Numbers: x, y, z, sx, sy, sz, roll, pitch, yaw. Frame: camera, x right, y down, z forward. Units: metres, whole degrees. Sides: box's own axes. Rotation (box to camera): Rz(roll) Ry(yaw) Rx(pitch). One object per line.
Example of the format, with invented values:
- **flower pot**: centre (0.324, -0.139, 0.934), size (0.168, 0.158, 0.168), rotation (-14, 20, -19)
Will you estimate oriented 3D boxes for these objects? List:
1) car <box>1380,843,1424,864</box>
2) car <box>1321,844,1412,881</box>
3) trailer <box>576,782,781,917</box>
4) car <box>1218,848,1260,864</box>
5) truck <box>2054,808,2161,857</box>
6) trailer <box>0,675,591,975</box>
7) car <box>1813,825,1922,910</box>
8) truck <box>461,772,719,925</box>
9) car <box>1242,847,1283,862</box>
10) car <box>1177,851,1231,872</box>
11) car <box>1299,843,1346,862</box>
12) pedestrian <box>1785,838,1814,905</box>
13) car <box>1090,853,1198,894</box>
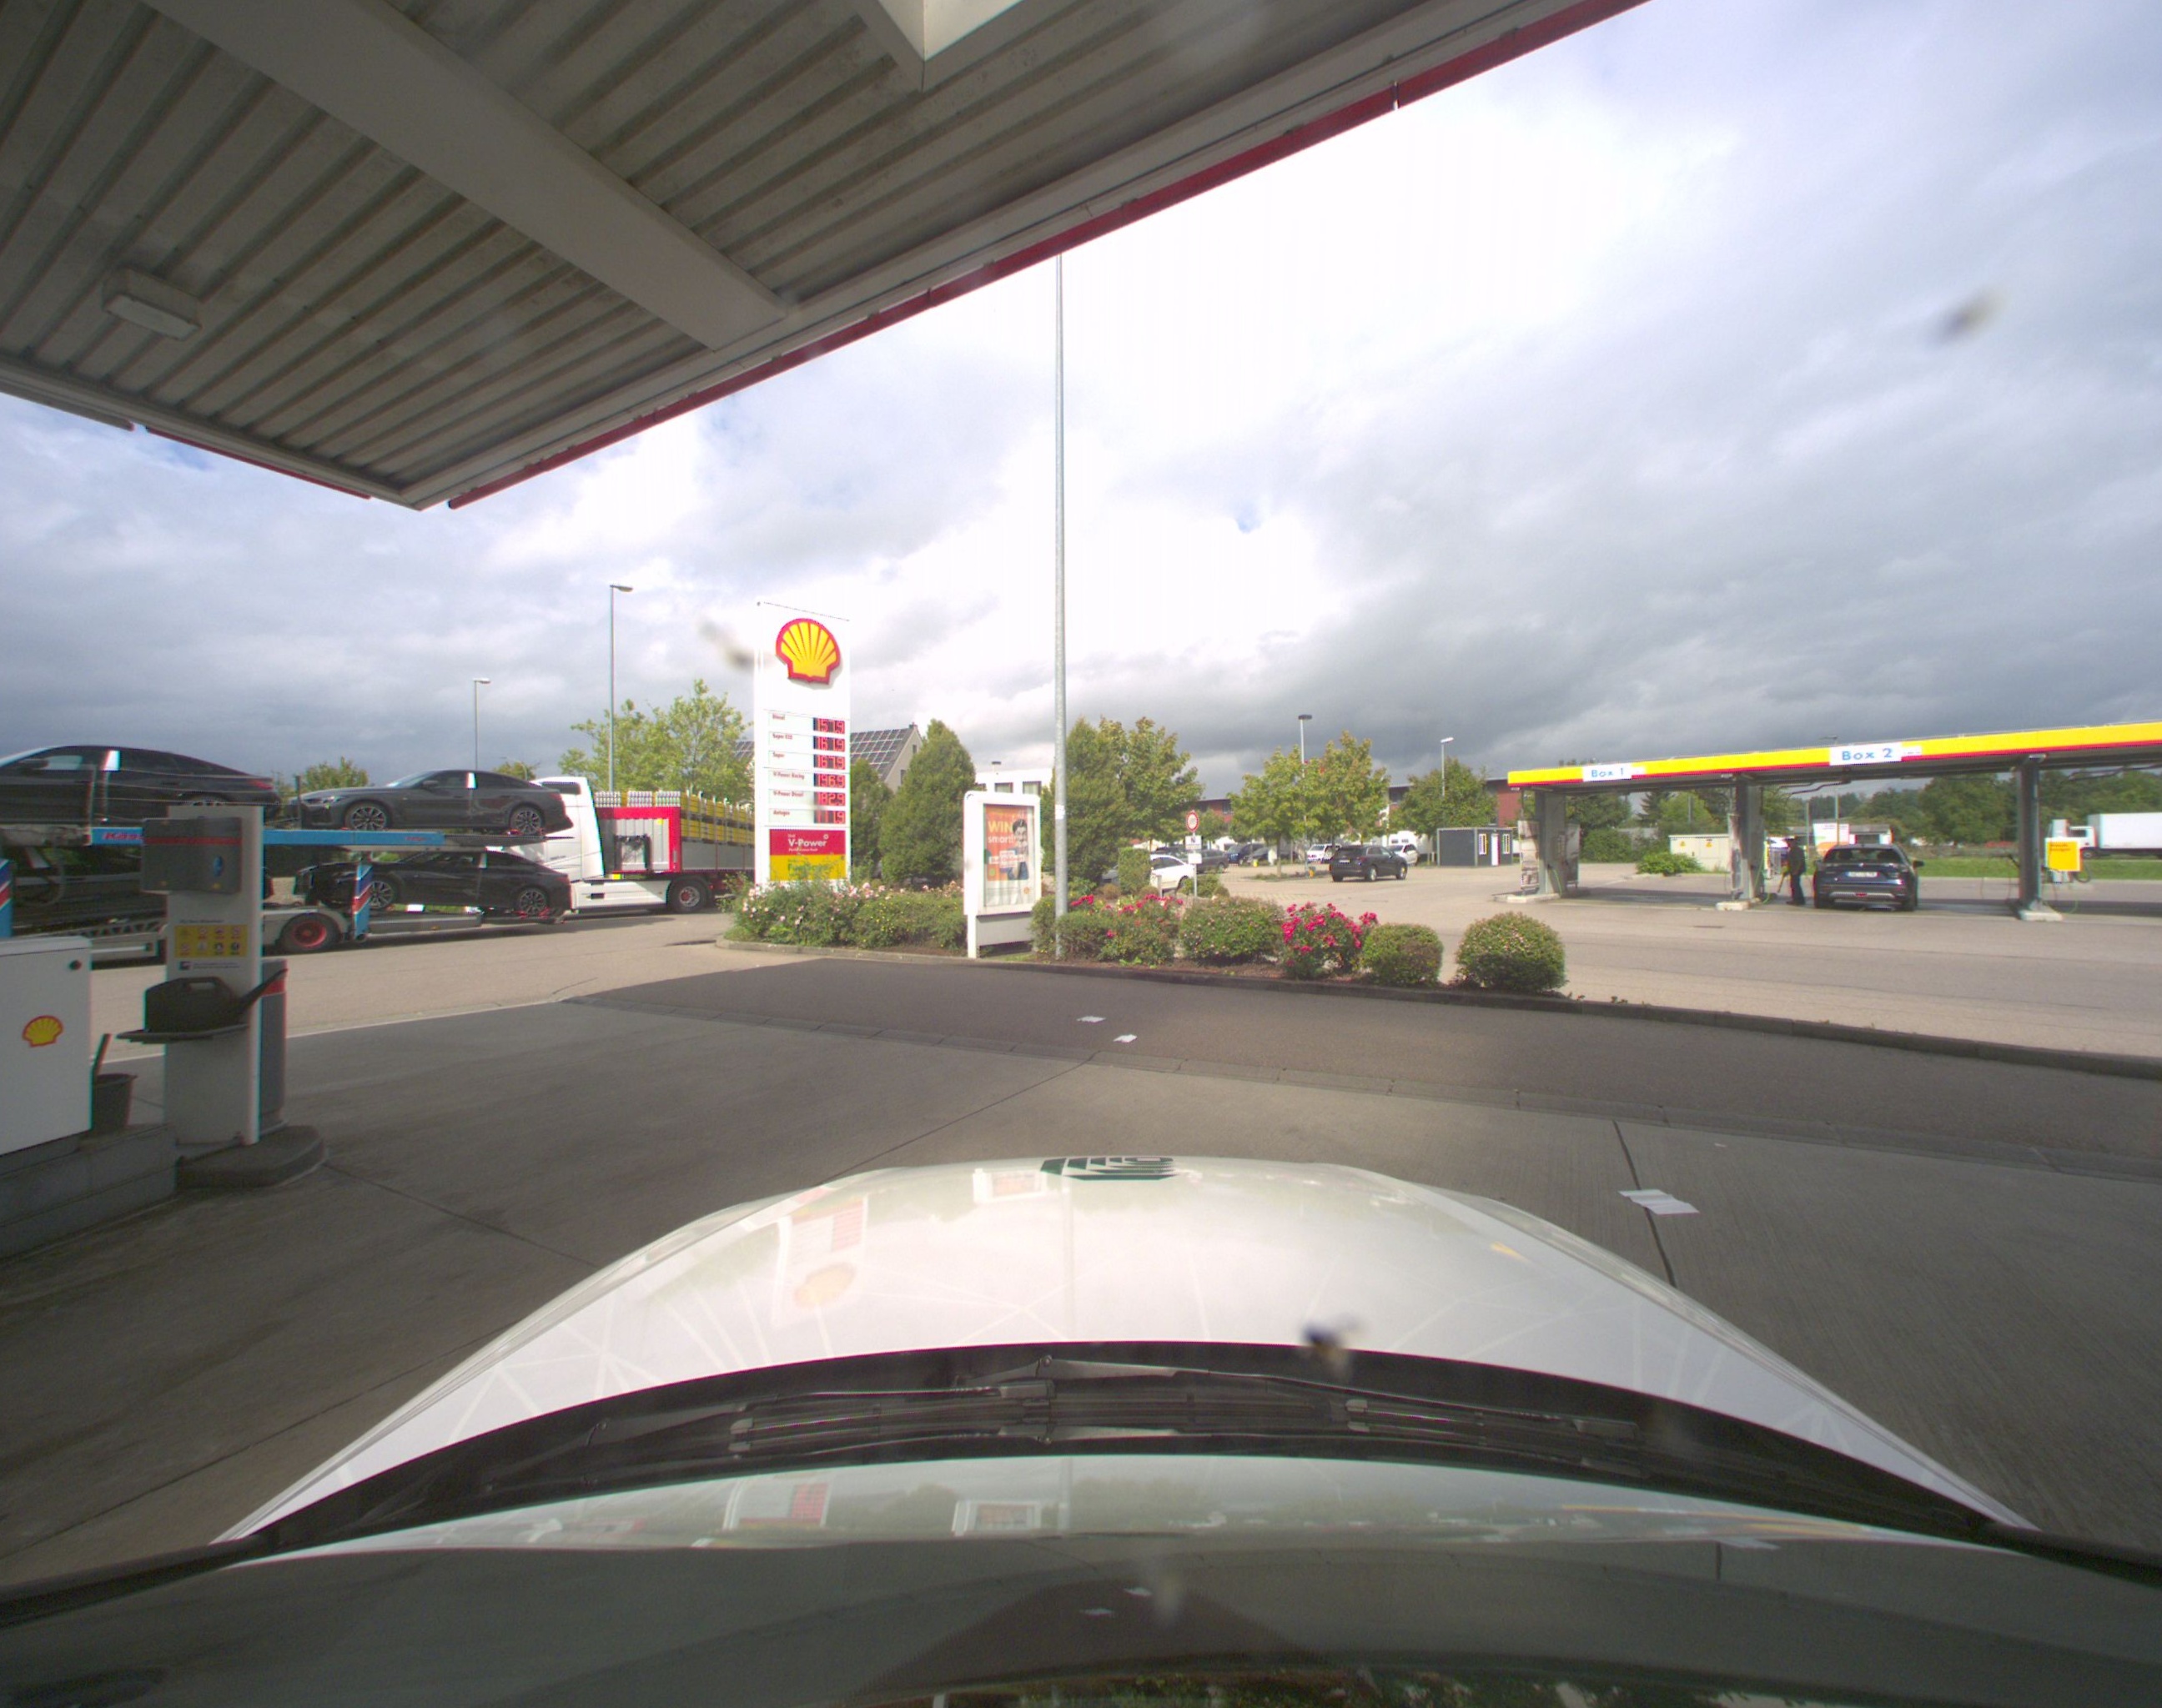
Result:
- **car**: centre (20.592, -0.047, 52.205), size (3.120, 1.307, 1.352), rotation (0, -1, -42)
- **car**: centre (12.862, 0.374, 36.569), size (4.527, 1.548, 1.864), rotation (0, -1, -41)
- **trailer**: centre (-13.601, -0.085, 29.183), size (2.729, 3.776, 12.676), rotation (0, -1, -8)
- **car**: centre (12.933, 0.181, 66.649), size (3.407, 1.320, 1.726), rotation (0, -1, -42)
- **truck**: centre (78.214, -1.560, 60.004), size (7.989, 3.534, 2.714), rotation (-1, -1, 41)
- **trailer**: centre (-16.446, -0.413, 13.670), size (2.711, 4.423, 14.450), rotation (-1, -1, 31)
- **car**: centre (19.426, 0.315, 20.065), size (3.828, 1.897, 1.703), rotation (0, -1, -43)
- **truck**: centre (-14.021, -0.129, 23.554), size (5.953, 3.846, 2.707), rotation (0, -1, -45)
- **car**: centre (14.476, 0.034, 64.865), size (3.437, 1.179, 1.468), rotation (0, -1, -42)
- **car**: centre (7.524, 0.448, 49.694), size (3.245, 1.228, 1.488), rotation (0, -1, -42)
- **car**: centre (23.855, -0.123, 80.259), size (4.903, 1.833, 2.159), rotation (0, -1, -41)
- **pedestrian**: centre (18.769, 0.457, 21.286), size (0.551, 1.722, 0.531), rotation (-1, -1, 41)
- **car**: centre (2.381, 0.683, 30.009), size (4.368, 1.404, 1.354), rotation (0, -1, -42)
